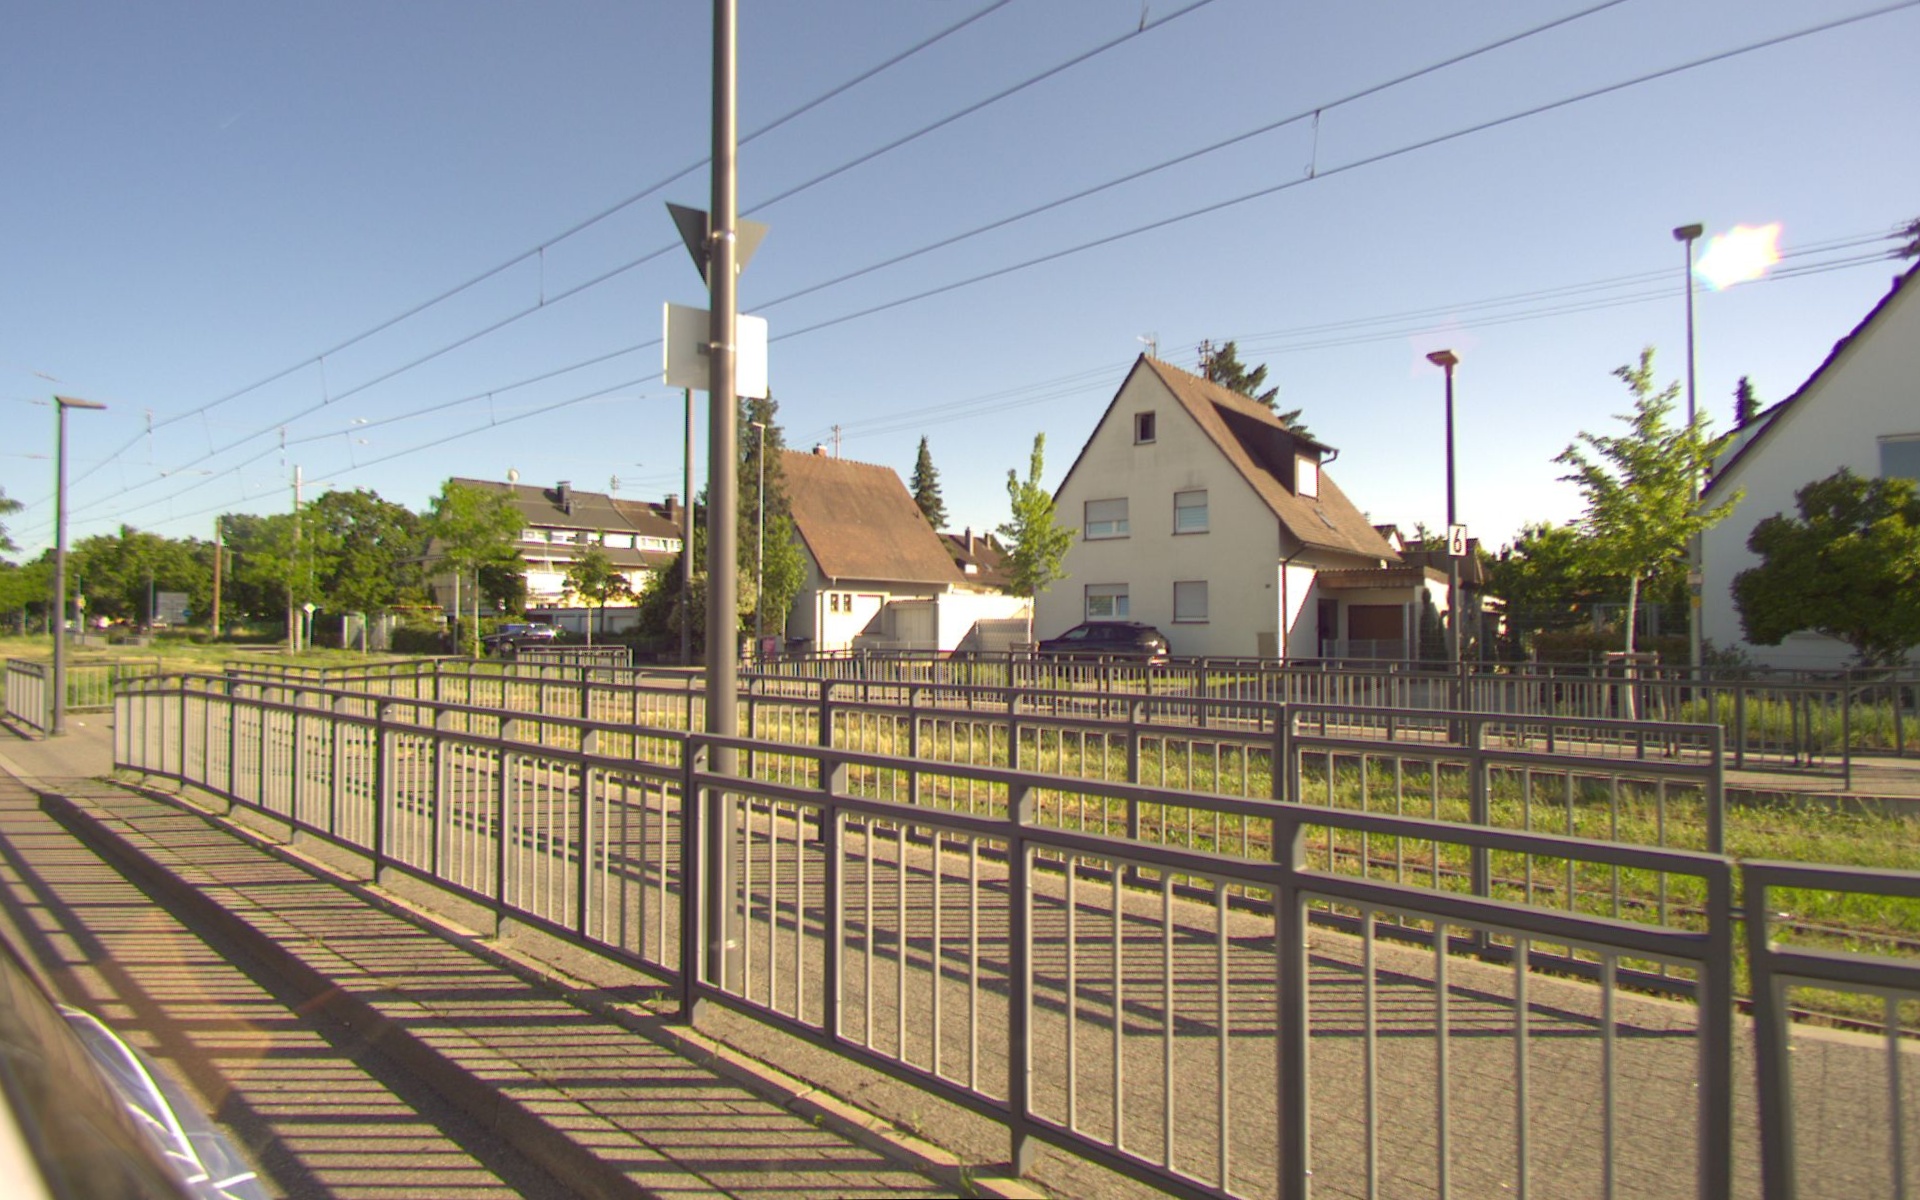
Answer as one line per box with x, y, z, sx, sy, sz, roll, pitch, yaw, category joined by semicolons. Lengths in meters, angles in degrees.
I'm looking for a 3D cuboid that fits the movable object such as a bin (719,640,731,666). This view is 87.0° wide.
-8.966;2.024;38.654;0.333;0.973;0.295;-1;0;37;movable object such as a bin

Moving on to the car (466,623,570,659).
-22.445;2.086;51.544;2.044;1.748;4.509;-1;-2;29;car

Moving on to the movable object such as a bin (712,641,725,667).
-9.171;2.036;38.400;0.350;0.977;0.323;-1;0;37;movable object such as a bin

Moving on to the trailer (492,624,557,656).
-23.219;2.128;54.053;1.397;1.660;2.885;-1;-2;38;trailer

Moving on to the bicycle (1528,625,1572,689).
13.305;1.259;22.785;0.703;1.376;1.972;-1;-2;34;bicycle

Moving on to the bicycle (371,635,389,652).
-35.551;2.655;62.056;1.748;0.949;0.419;0;0;41;bicycle

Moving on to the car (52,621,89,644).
-76.967;2.795;87.562;4.701;1.929;1.877;-1;-2;43;car

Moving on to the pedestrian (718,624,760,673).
-7.592;1.662;34.797;1.085;1.653;0.955;-1;-2;41;pedestrian

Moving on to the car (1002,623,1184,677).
3.837;1.417;29.886;5.160;1.461;1.914;-1;-2;41;car
